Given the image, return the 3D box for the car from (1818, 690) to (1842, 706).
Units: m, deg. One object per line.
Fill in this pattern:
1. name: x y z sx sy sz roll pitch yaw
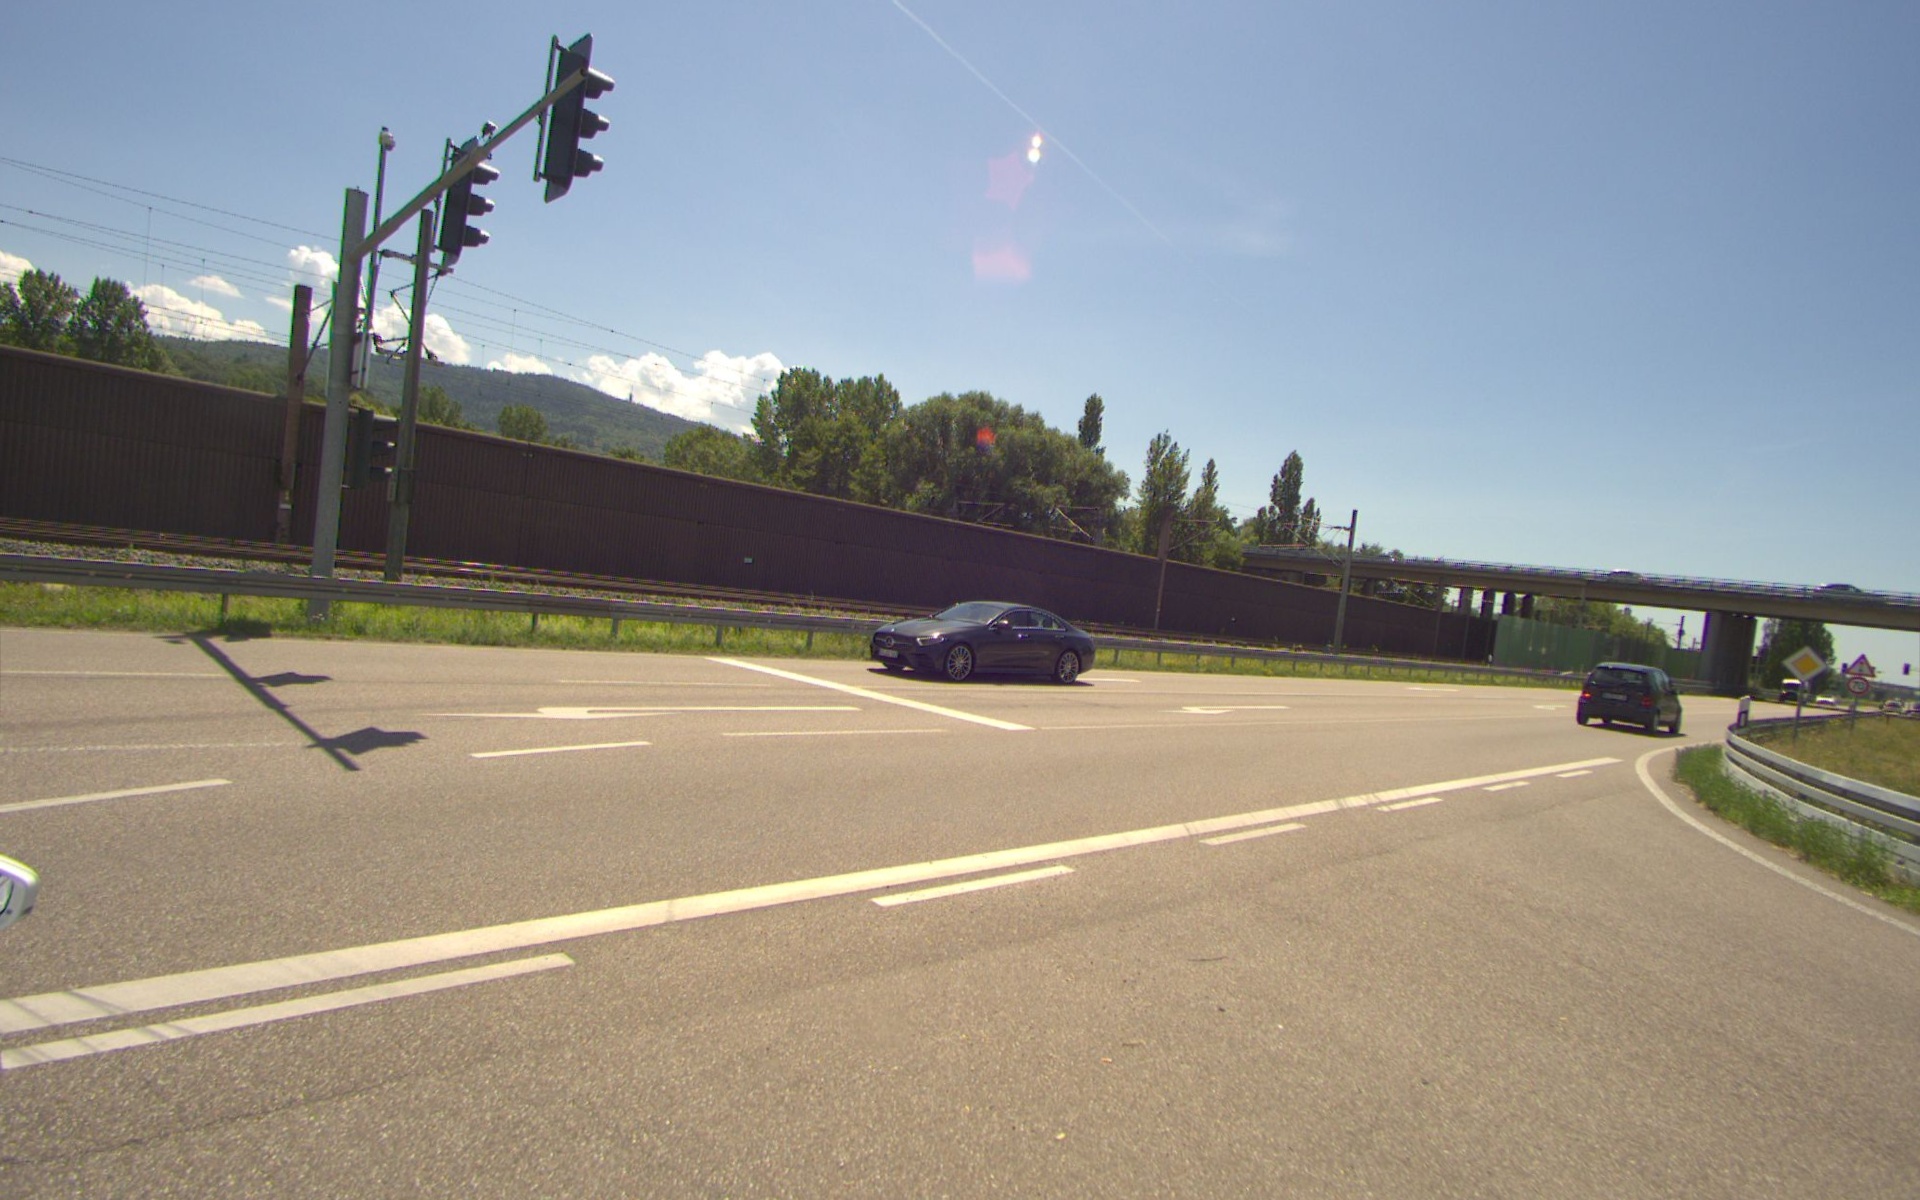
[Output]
1. car: 112.820 12.677 130.411 3.974 1.712 1.820 6 2 -44

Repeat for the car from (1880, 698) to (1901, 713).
1. car: 115.199 13.107 124.562 3.663 1.581 1.570 6 0 -44

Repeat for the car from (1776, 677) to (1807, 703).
1. car: 88.414 9.585 106.968 4.617 2.472 1.889 6 0 -44

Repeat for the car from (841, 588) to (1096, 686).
1. car: 0.275 0.727 18.569 4.617 1.381 1.889 6 0 -44

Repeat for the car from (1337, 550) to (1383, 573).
1. car: 48.160 -4.642 121.170 1.897 2.473 4.598 5 1 -39

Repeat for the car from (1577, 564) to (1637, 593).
1. car: 65.242 -2.199 101.503 1.897 2.473 4.598 5 1 -39

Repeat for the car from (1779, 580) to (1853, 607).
1. car: 74.406 -0.603 87.491 1.898 1.919 4.595 5 0 -41

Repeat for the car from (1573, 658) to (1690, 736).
1. car: 16.879 2.424 25.227 3.539 1.617 1.622 6 1 -45
